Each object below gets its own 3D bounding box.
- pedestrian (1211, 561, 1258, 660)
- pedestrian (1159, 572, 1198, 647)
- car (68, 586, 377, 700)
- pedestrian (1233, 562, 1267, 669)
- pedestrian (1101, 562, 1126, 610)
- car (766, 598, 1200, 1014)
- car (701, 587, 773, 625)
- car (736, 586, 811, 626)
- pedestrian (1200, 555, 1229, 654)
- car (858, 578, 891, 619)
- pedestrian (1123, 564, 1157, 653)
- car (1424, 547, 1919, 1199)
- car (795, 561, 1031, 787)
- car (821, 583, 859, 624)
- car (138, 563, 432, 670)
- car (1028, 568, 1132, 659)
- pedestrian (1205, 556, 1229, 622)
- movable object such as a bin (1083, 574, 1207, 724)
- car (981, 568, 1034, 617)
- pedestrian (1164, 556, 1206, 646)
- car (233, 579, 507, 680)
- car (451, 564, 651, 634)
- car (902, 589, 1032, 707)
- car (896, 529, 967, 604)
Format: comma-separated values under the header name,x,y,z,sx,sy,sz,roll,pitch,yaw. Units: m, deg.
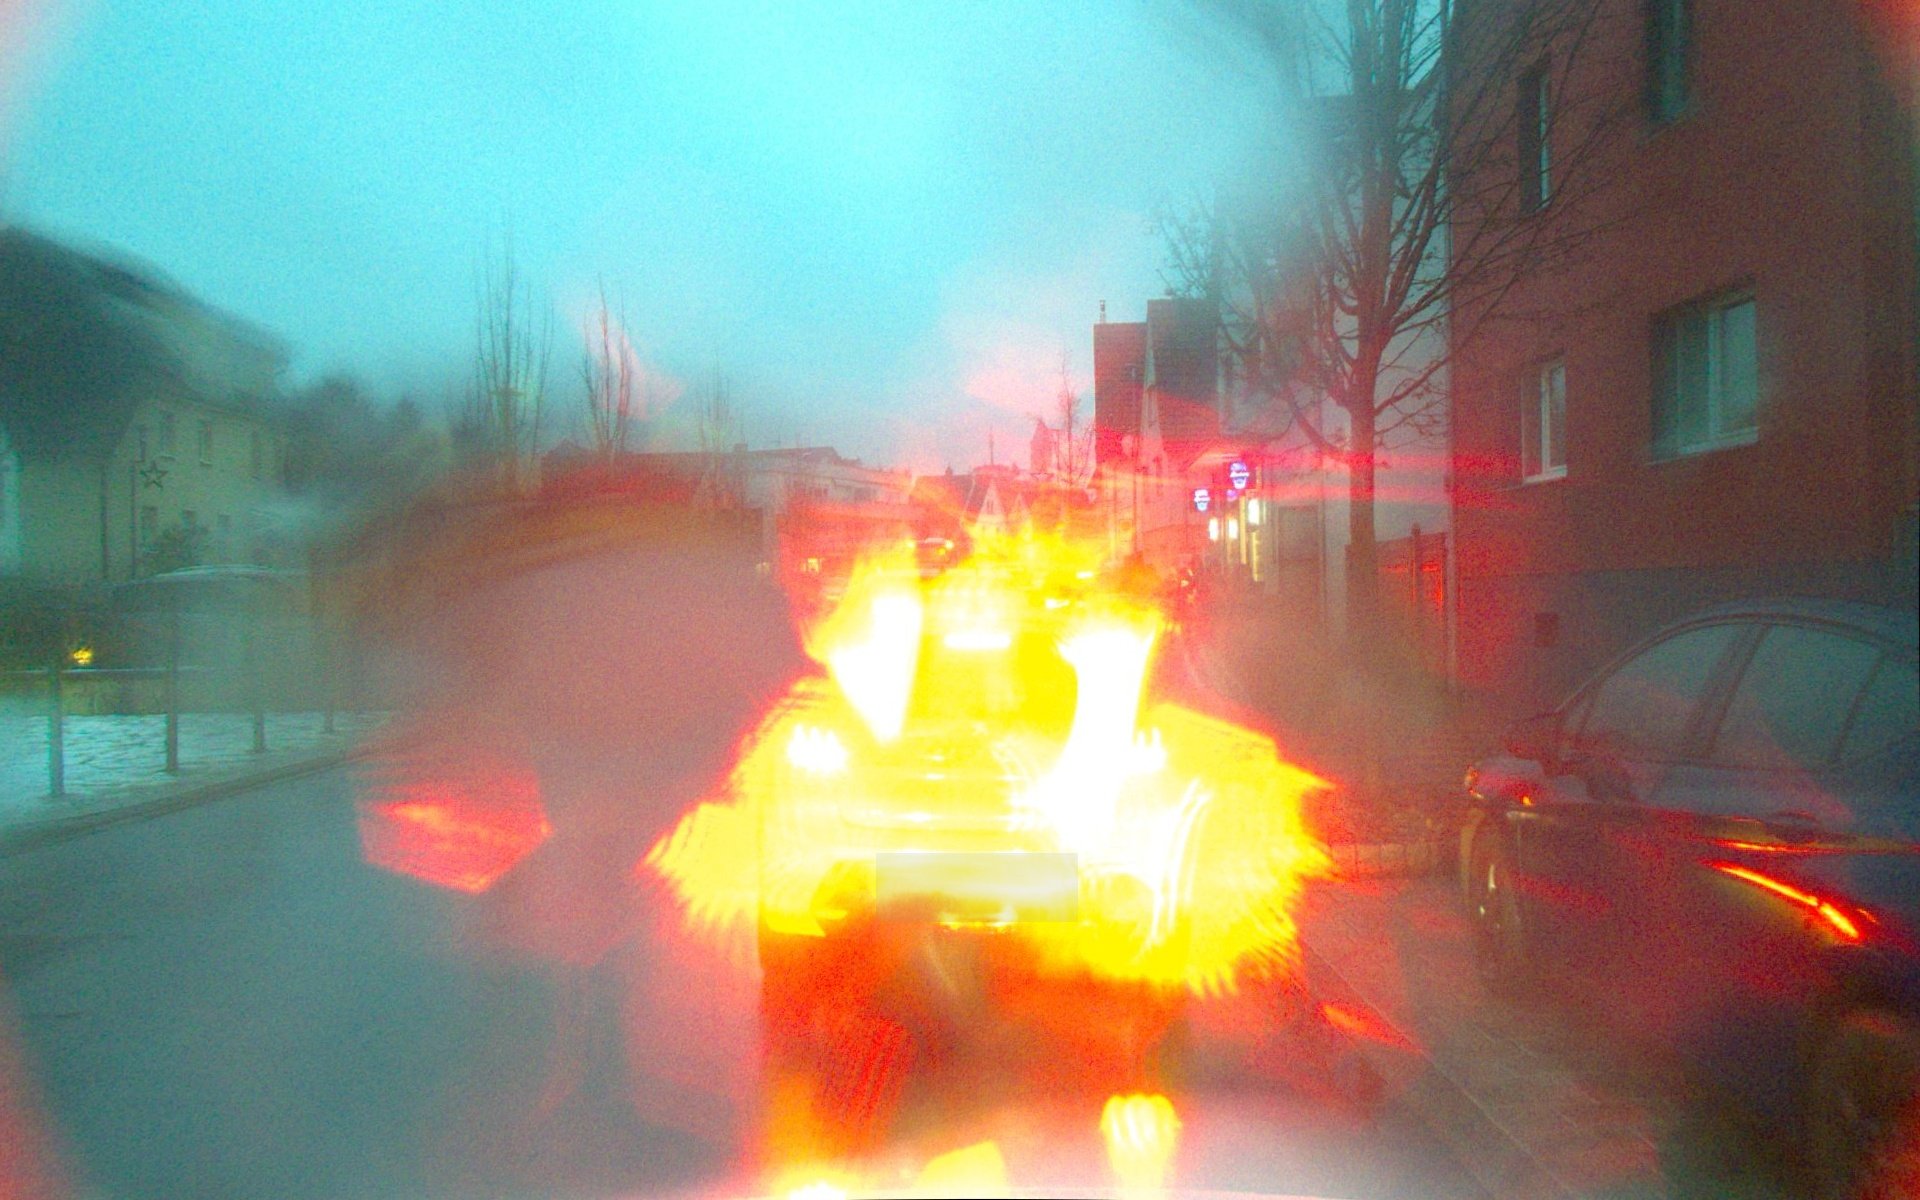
name,x,y,z,sx,sy,sz,roll,pitch,yaw
pedestrian,4.844,0.195,29.231,0.731,1.708,1.052,0,-2,5
pedestrian,4.958,0.211,37.560,0.608,1.655,0.903,-1,2,-14
car,-9.765,0.539,22.093,3.375,1.396,1.600,-1,0,-2
pedestrian,4.616,0.255,26.364,0.517,1.682,0.954,0,-2,9
pedestrian,5.071,-0.461,54.594,0.608,1.542,0.731,-1,2,-14
car,0.068,0.733,7.399,1.531,1.437,3.017,1,1,-1
car,-12.376,0.363,91.684,4.097,2.011,1.810,-1,-2,44
car,-10.757,0.385,95.428,4.310,2.204,1.987,-1,-2,44
pedestrian,4.790,0.079,31.070,0.517,1.832,0.865,0,1,9
car,-4.967,-0.049,96.456,1.881,2.254,3.973,1,-2,-3
pedestrian,3.586,0.167,32.987,0.561,1.729,0.653,-2,0,1
car,2.739,0.627,4.675,1.693,1.490,4.200,-3,1,1
car,-0.373,0.529,14.078,1.730,1.657,3.585,1,1,-1
car,-6.409,0.226,88.528,1.881,2.063,3.973,1,-2,-3
car,-10.088,0.240,24.871,3.713,1.549,1.716,0,0,6
car,2.399,0.243,33.945,1.700,1.722,4.385,-1,0,-1
pedestrian,6.937,-0.294,44.693,0.605,1.757,0.502,0,-2,11
movable object such as a bin,1.940,0.486,17.558,1.106,1.445,1.418,-4,1,1
car,1.868,-0.290,65.814,1.957,1.897,4.082,0,0,0
pedestrian,4.496,0.004,33.051,0.697,1.745,1.035,-2,1,13
car,-9.818,0.476,27.701,4.008,1.636,1.588,0,0,2
car,-10.135,-0.019,41.246,4.533,1.697,1.999,0,0,-3
car,0.061,0.556,21.164,1.510,1.355,3.311,1,1,-1
car,-1.317,-1.457,76.074,3.126,3.085,6.303,1,-2,-1
